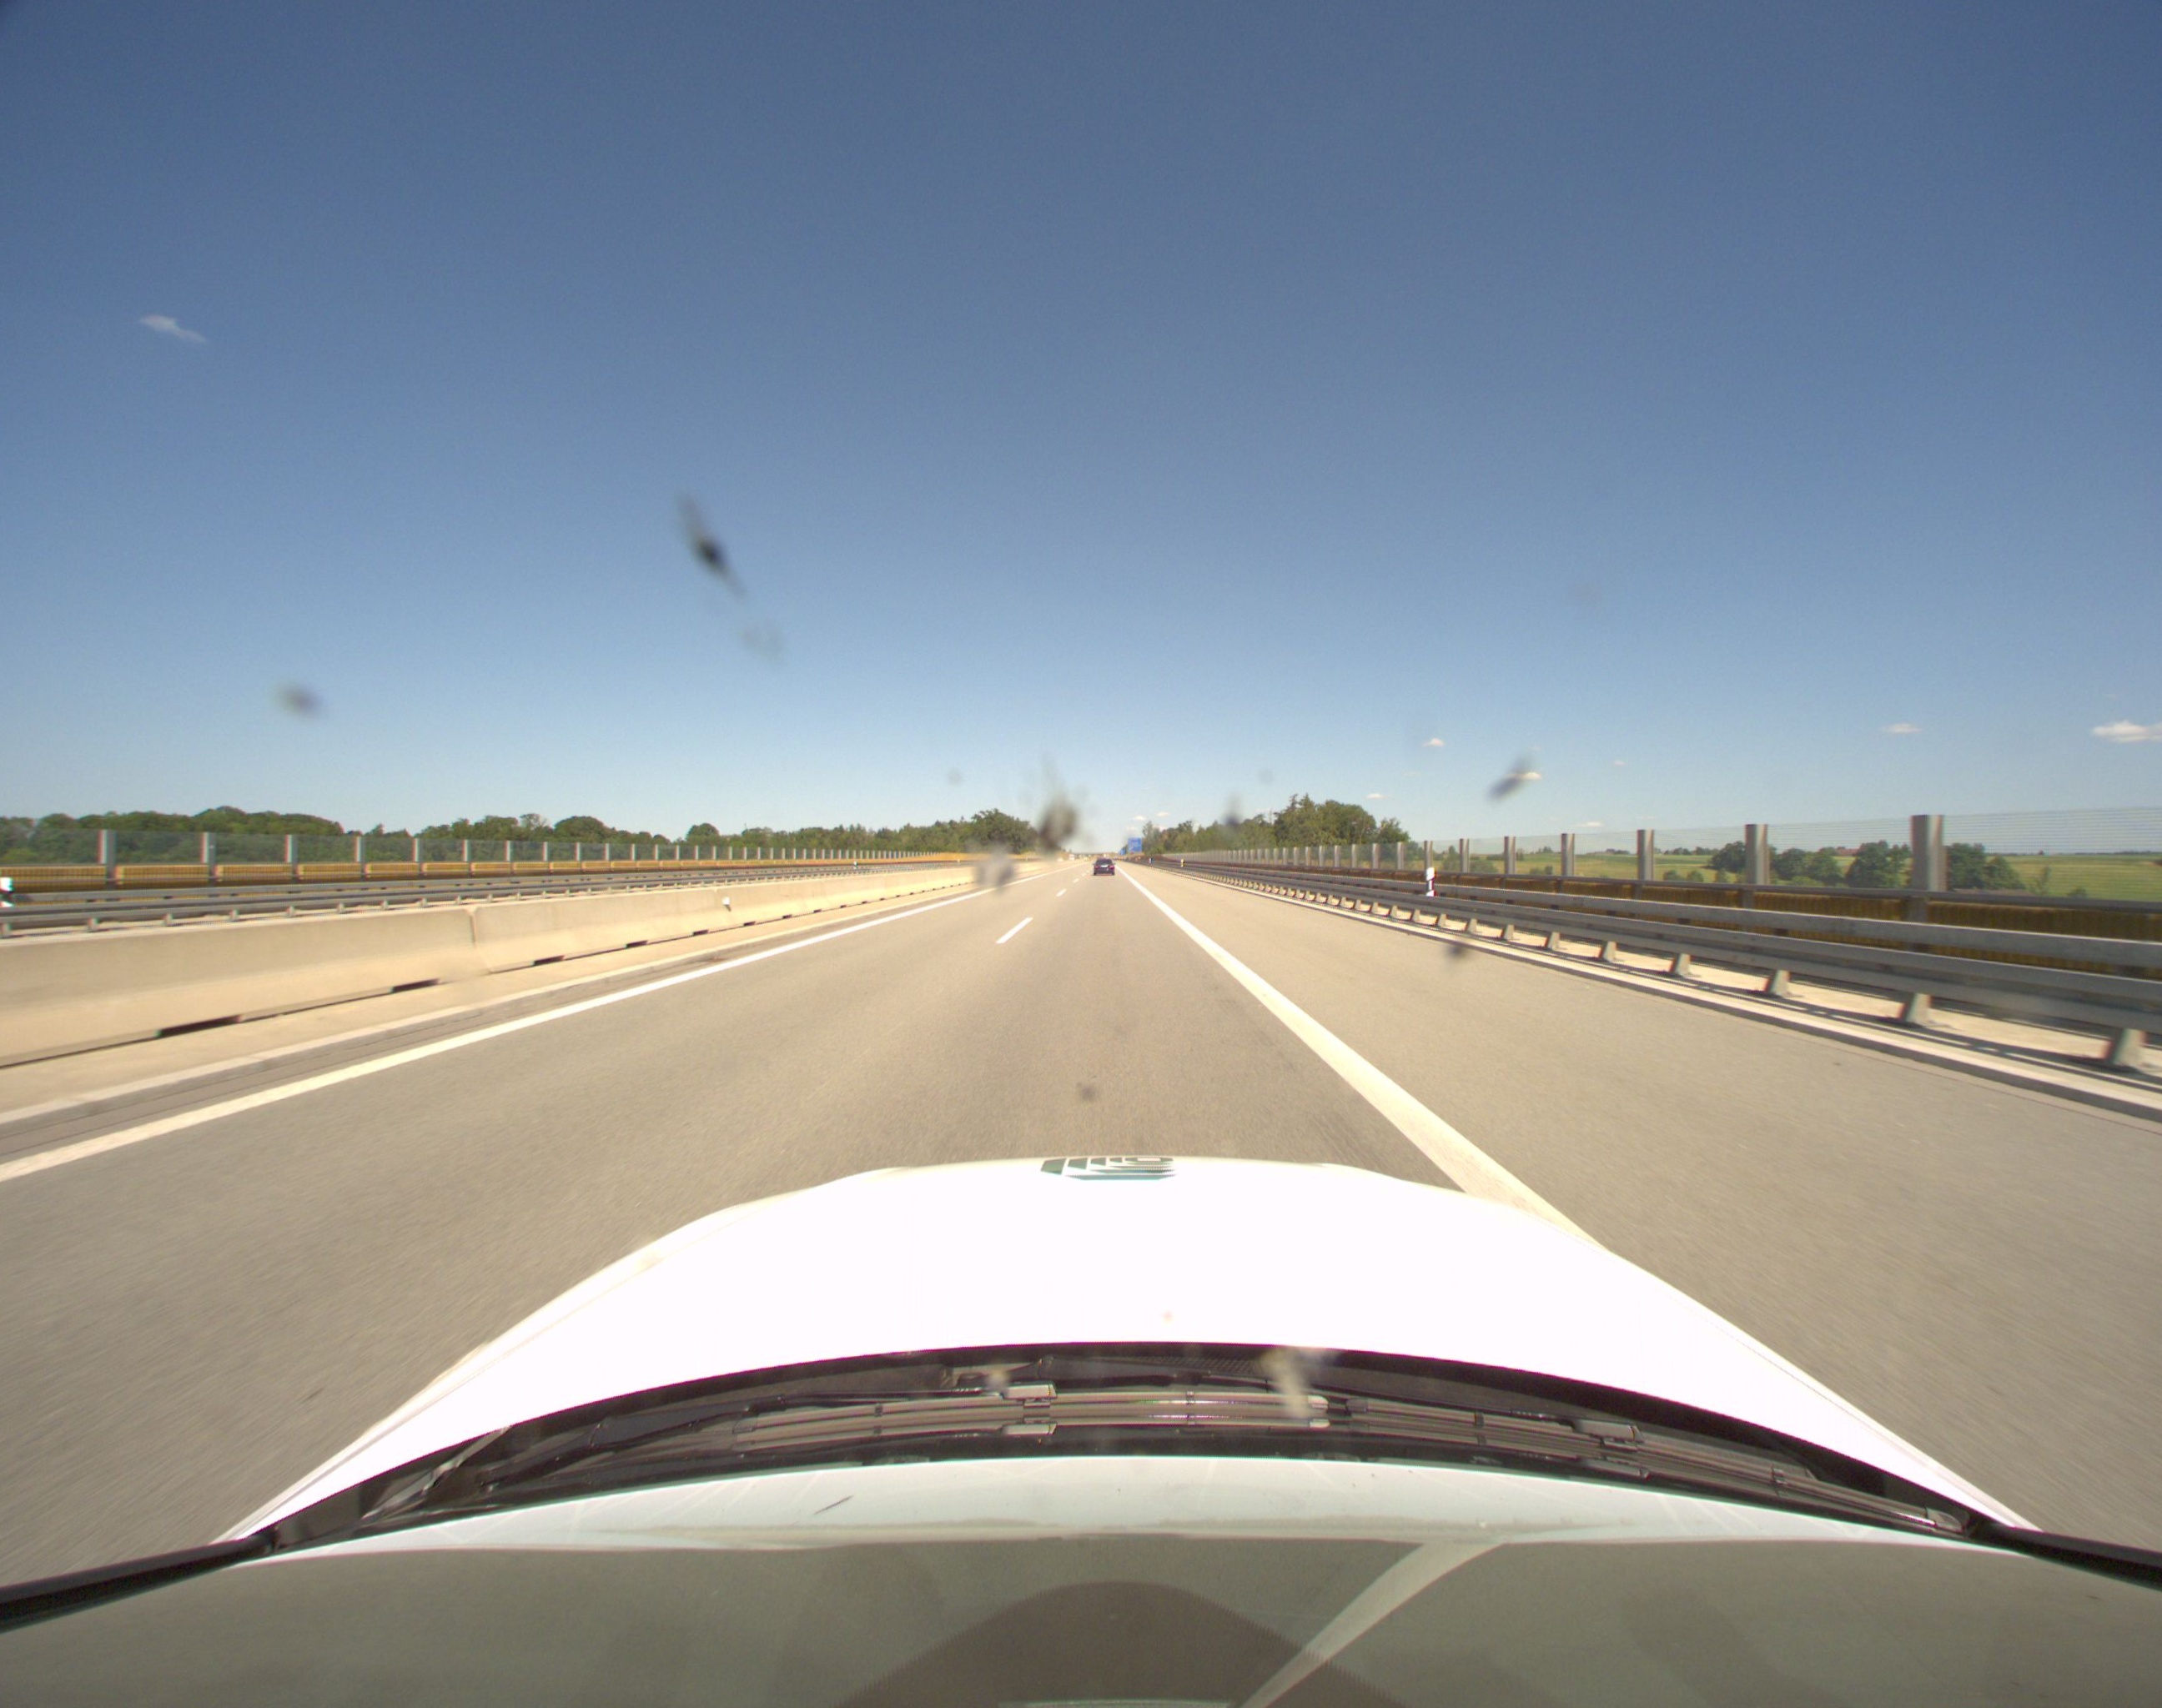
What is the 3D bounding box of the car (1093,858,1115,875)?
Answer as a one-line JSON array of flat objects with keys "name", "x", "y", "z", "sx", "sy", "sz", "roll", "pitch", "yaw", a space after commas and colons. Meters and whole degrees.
[{"name": "car", "x": 1.936, "y": 1.036, "z": 68.073, "sx": 1.783, "sy": 1.374, "sz": 3.918, "roll": 0, "pitch": 0, "yaw": 2}]
